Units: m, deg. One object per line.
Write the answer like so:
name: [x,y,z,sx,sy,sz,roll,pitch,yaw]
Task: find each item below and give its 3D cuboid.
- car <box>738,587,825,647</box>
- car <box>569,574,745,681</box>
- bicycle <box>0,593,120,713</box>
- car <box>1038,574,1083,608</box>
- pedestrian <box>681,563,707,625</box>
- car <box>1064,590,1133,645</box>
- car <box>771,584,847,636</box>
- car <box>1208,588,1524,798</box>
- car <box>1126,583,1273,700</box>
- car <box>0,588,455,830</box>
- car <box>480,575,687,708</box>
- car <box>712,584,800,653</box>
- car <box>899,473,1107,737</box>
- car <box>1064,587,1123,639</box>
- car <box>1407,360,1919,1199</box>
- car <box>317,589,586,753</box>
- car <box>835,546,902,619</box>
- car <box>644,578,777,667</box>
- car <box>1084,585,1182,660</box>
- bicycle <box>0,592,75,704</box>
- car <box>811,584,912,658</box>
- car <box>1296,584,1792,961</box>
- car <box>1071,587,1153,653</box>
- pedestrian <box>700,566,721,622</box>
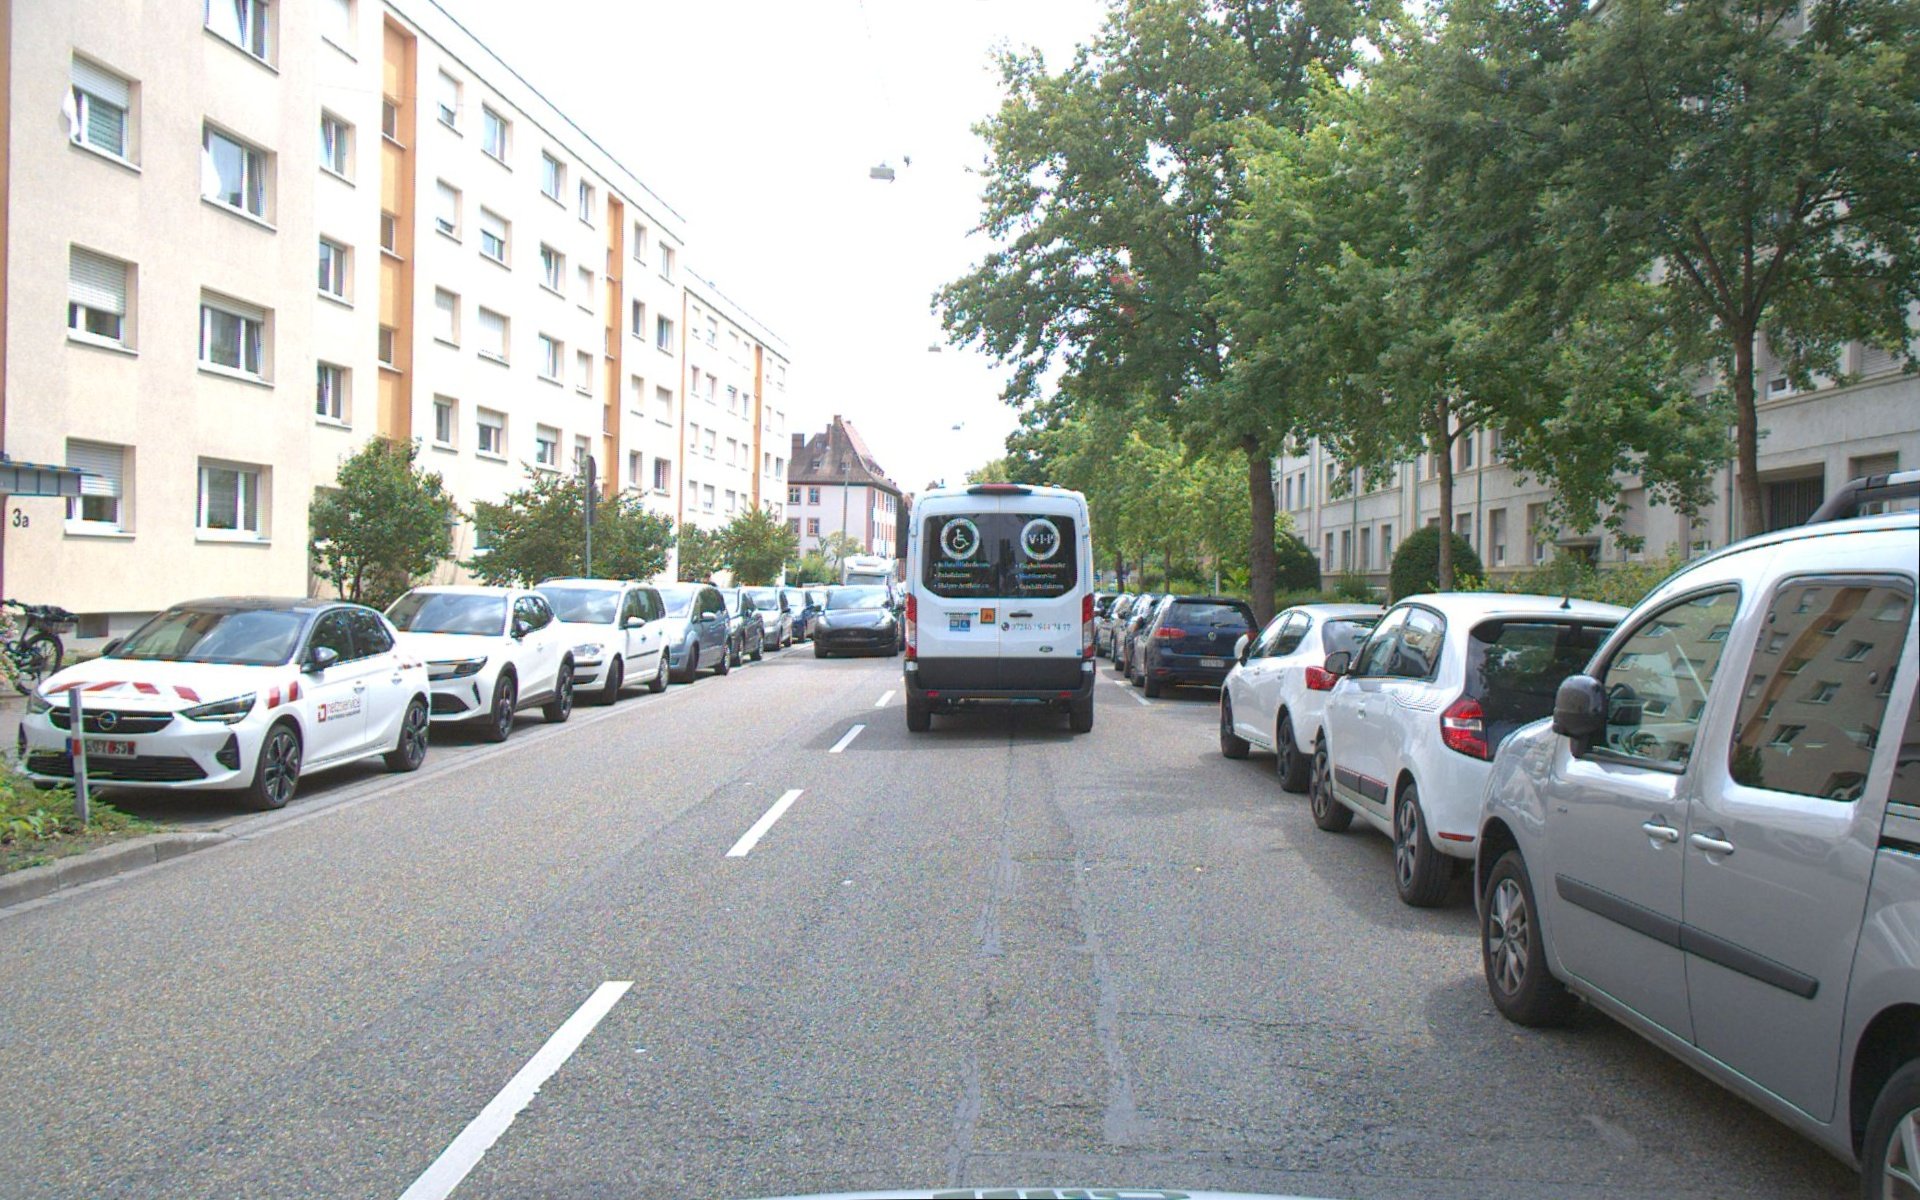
car: [-4.977,0.444,46.595,1.780,1.509,3.886,2,1,3]
car: [-5.198,0.415,29.074,1.902,1.640,4.863,2,1,3]
bicycle: [-10.685,0.578,19.205,0.566,1.273,1.935,1,2,12]
car: [5.350,-0.506,88.713,1.888,1.690,5.324,4,1,-1]
pedestrian: [-7.969,-0.185,49.542,0.607,1.844,0.899,2,0,-1]
car: [3.994,0.475,48.093,1.636,1.425,3.852,3,1,0]
car: [-4.725,0.286,52.310,1.780,1.509,4.118,2,1,3]
car: [3.308,0.671,14.260,1.662,1.475,4.101,2,1,0]
car: [3.466,0.544,24.549,1.662,1.495,4.102,2,1,2]
car: [-5.485,0.697,12.836,1.673,1.498,3.991,2,1,3]
car: [-5.247,0.510,23.666,1.662,1.641,4.479,2,1,3]
car: [-5.082,0.422,41.624,1.636,1.589,3.852,2,1,0]
car: [0.403,0.037,18.542,2.028,2.585,4.634,0,0,-1]
car: [4.255,0.368,52.853,1.742,1.495,4.617,3,1,4]
car: [2.863,0.498,4.914,1.878,1.898,4.848,2,1,2]
car: [-5.404,0.677,18.089,1.674,1.498,3.989,2,1,0]
car: [-4.122,-0.824,76.118,2.459,3.076,7.397,2,1,1]
car: [-5.084,0.418,34.272,1.902,1.641,4.303,2,1,2]
car: [3.840,0.463,37.414,1.662,1.495,4.754,2,1,0]
bicycle: [-11.339,0.563,19.368,0.524,1.273,2.047,0,1,12]
car: [-2.222,0.438,38.410,1.911,1.547,4.614,-1,1,2]
car: [3.058,0.770,9.478,1.571,1.635,3.806,3,1,2]
car: [3.887,0.471,42.806,1.662,1.495,4.718,2,1,0]
pedestrian: [-8.303,-0.197,55.072,0.607,1.844,0.803,0,0,-1]
